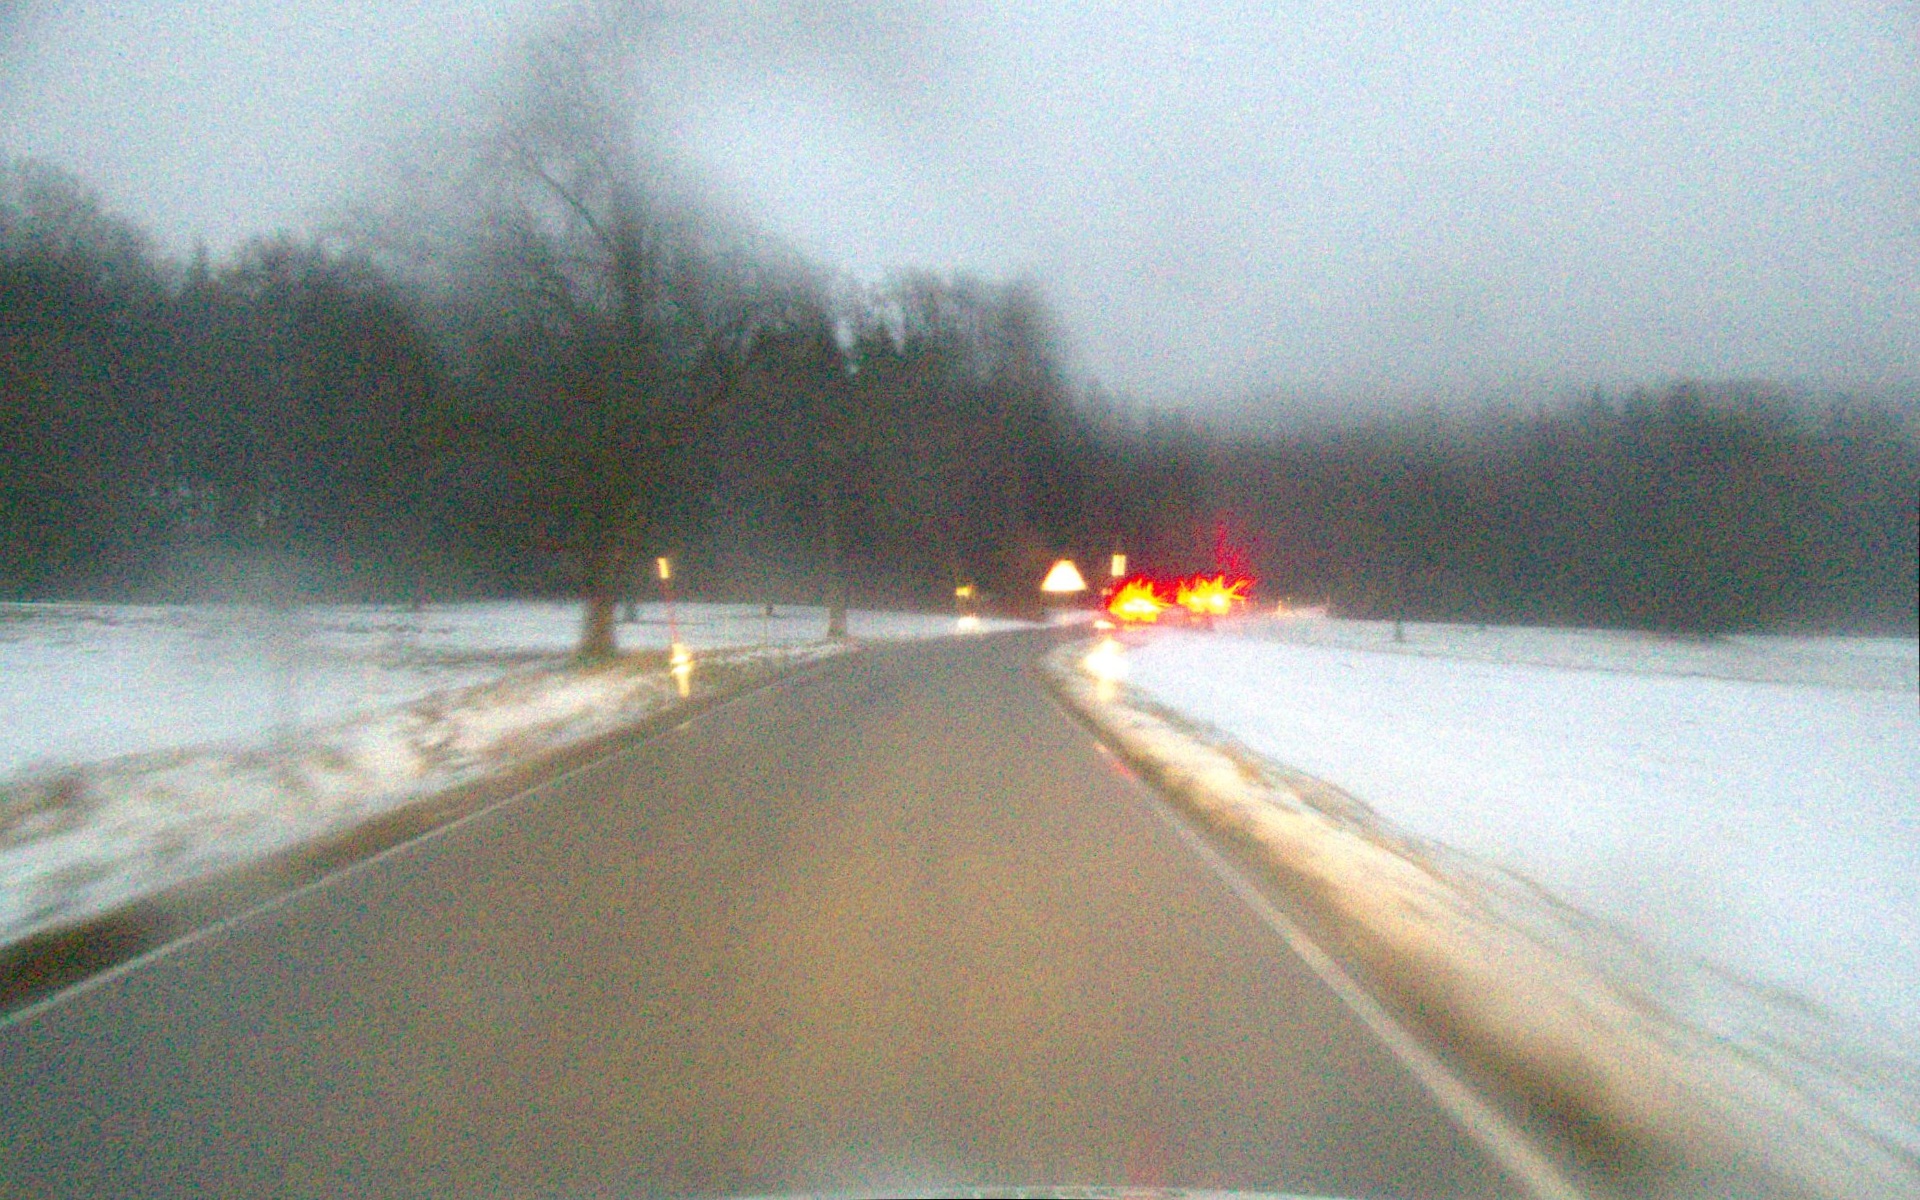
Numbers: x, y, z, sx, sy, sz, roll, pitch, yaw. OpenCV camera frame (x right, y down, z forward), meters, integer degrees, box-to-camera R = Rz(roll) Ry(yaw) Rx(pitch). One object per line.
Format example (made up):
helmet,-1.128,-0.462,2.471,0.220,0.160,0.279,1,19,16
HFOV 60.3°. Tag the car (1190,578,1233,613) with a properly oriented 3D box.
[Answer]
car,19.753,-0.373,129.769,2.206,2.691,5.006,0,0,22

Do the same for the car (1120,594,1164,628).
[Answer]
car,11.677,0.716,106.016,1.952,2.088,4.001,1,-1,19
